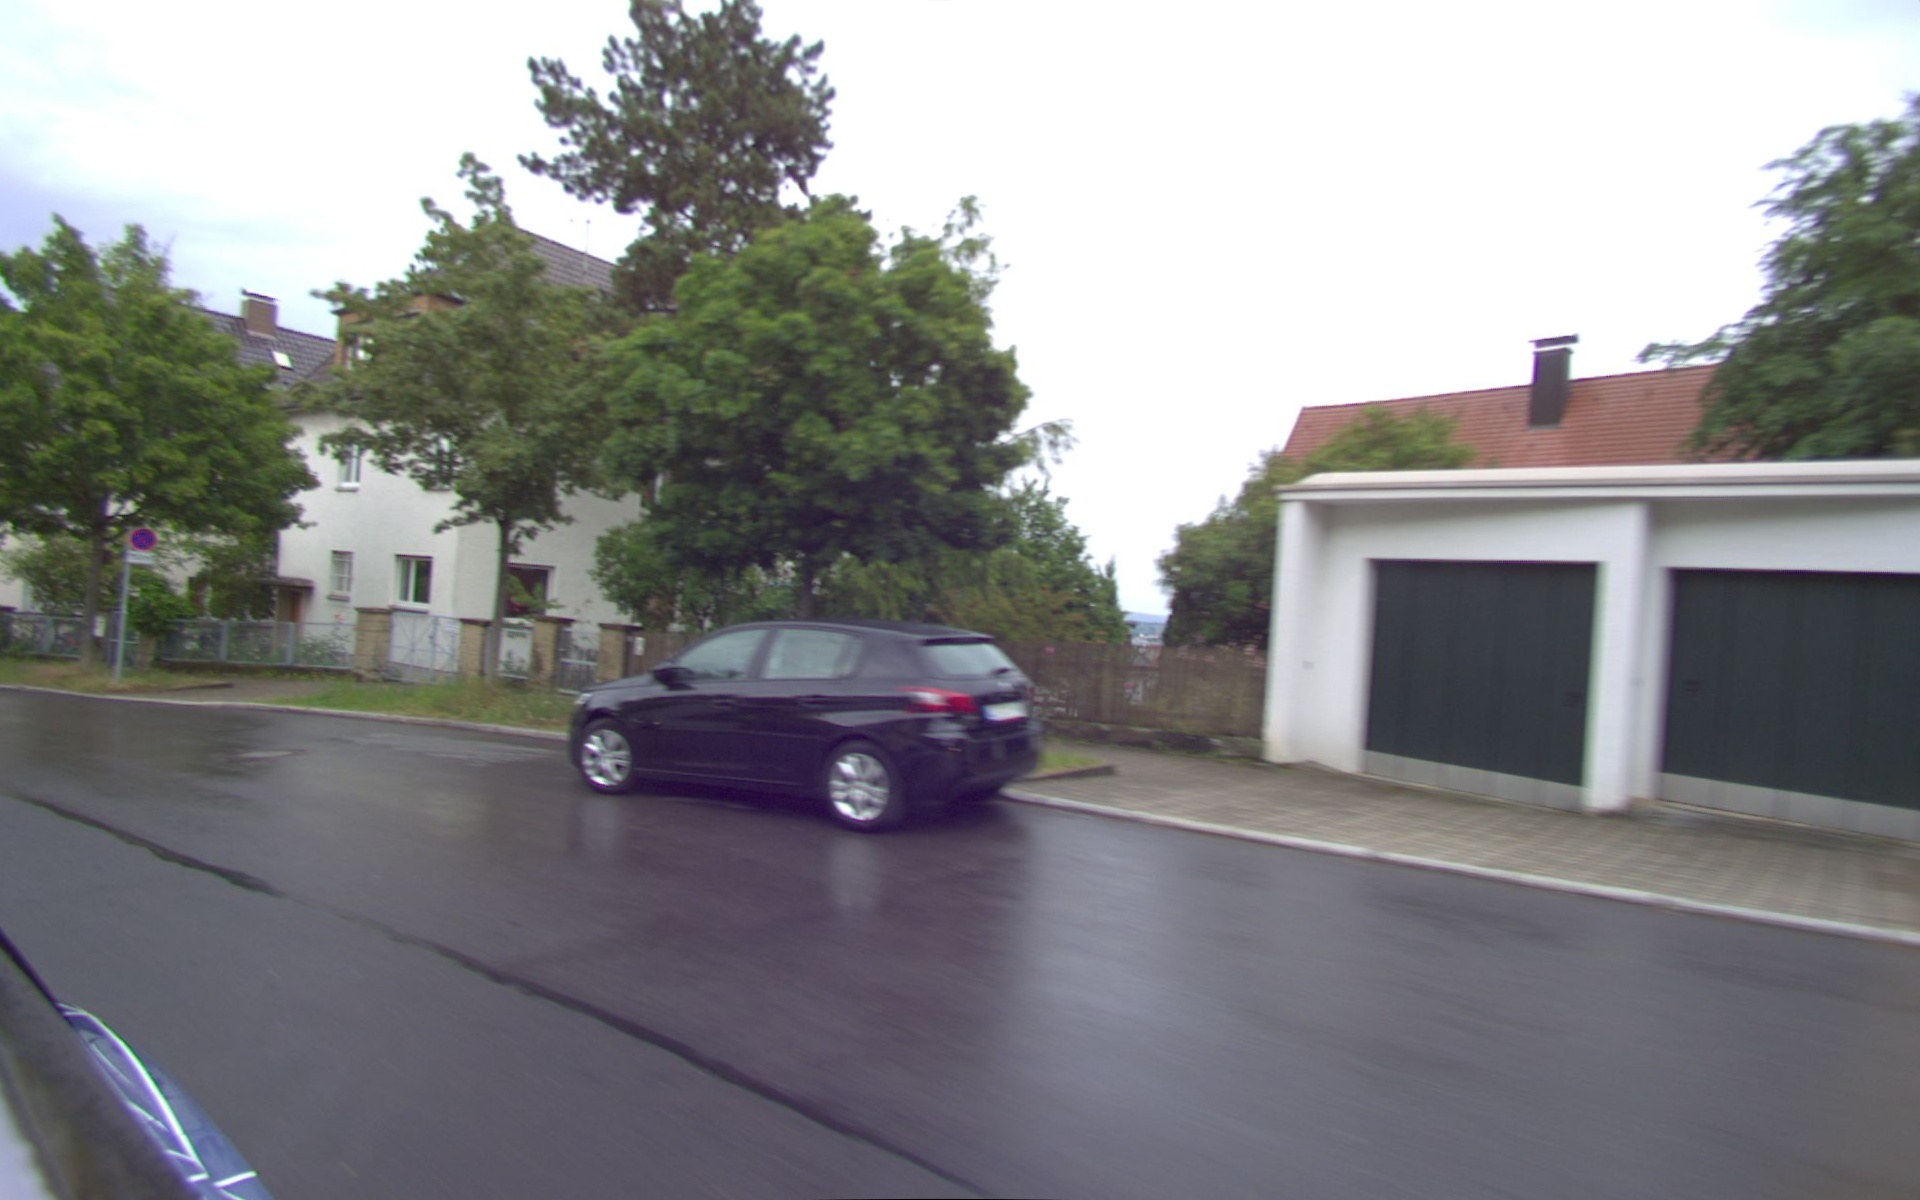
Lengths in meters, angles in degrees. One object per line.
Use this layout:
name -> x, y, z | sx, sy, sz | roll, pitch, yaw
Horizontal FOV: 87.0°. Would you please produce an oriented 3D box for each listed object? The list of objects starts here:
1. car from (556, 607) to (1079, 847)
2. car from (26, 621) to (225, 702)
car -> -1.185, 0.832, 7.986 | 3.879, 1.477, 1.658 | 0, -3, 30
car -> -24.261, 1.834, 29.543 | 1.853, 1.596, 3.951 | 0, -13, 38
